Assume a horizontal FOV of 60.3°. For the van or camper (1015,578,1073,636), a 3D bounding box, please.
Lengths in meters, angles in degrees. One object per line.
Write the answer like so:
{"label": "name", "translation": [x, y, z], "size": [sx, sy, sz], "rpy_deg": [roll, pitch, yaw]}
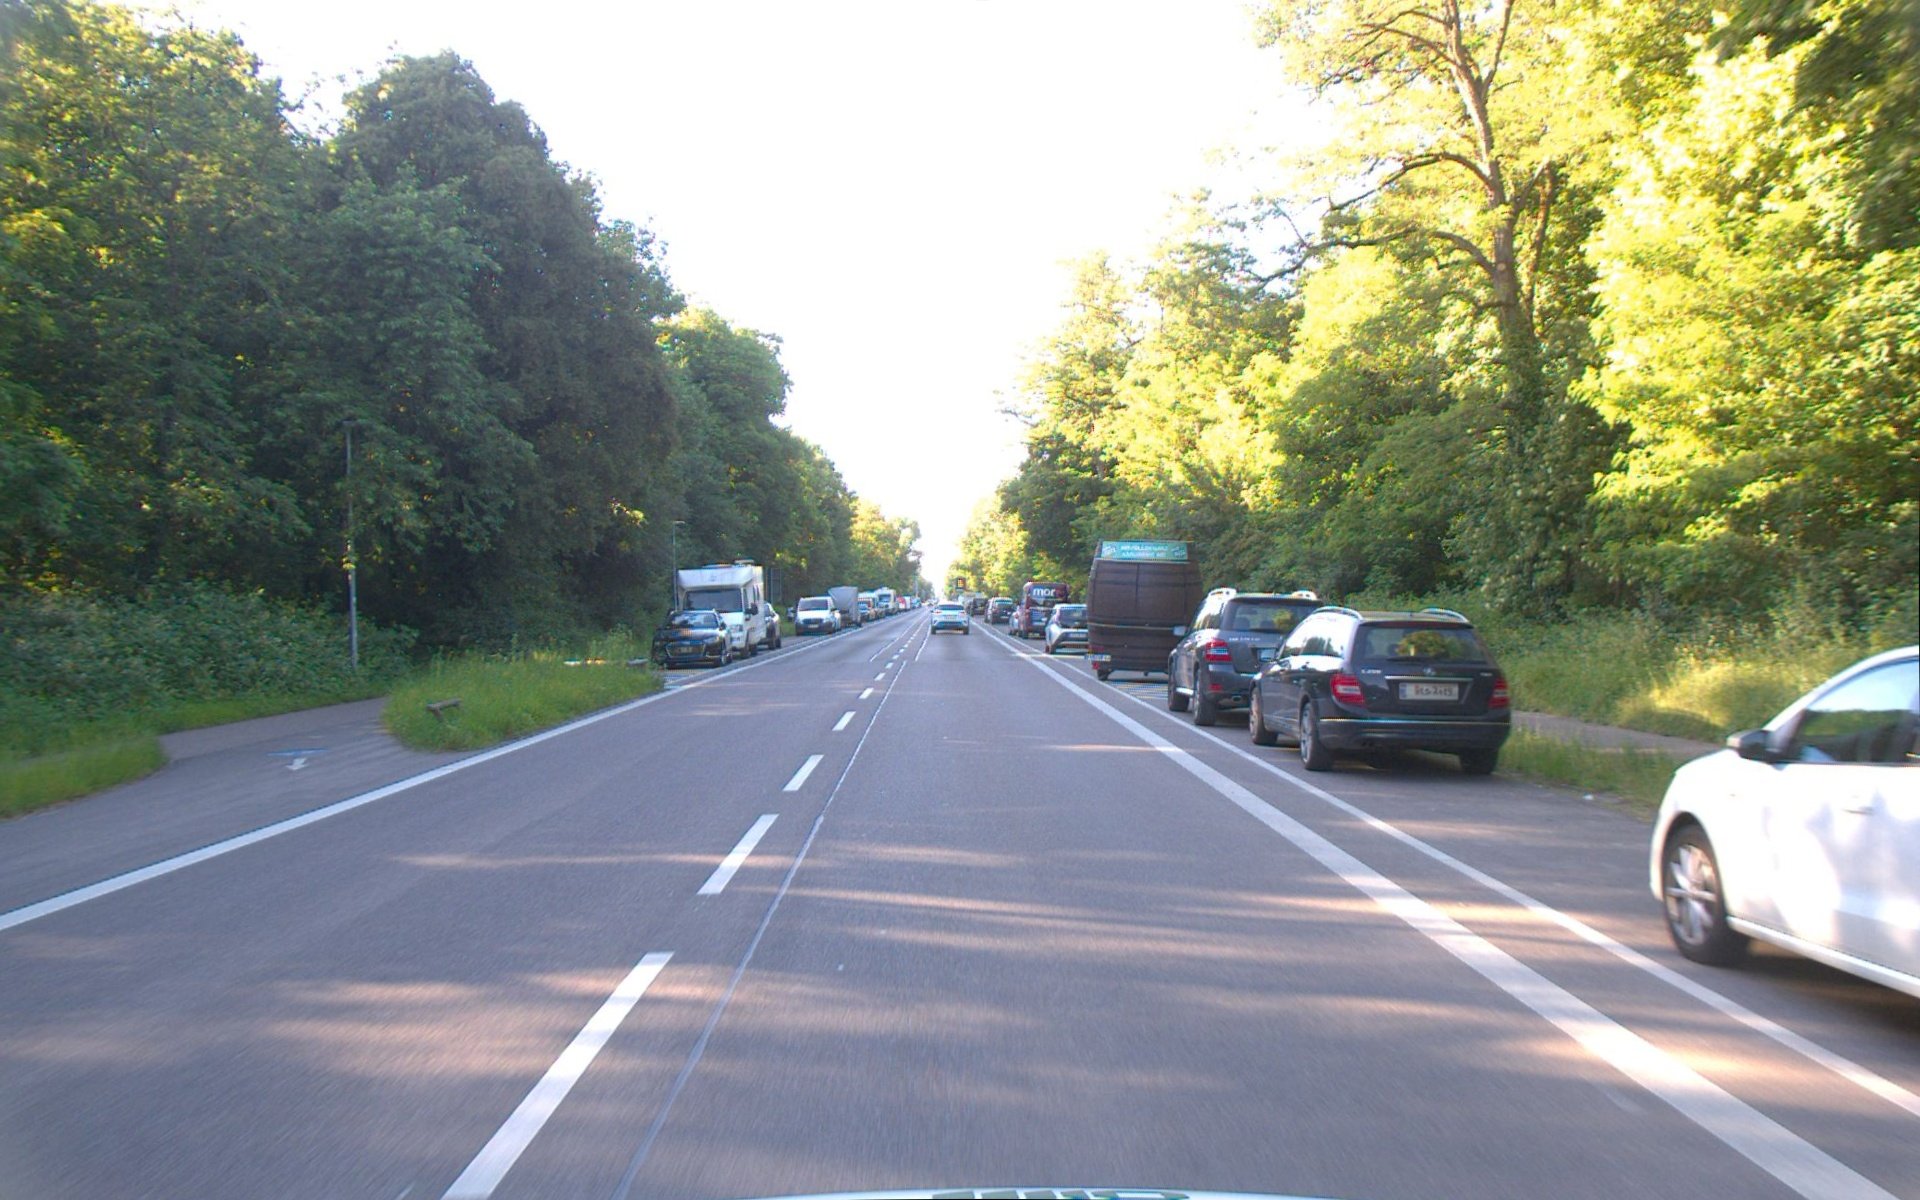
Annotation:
{"label": "van or camper", "translation": [3.558, 0.277, 70.982], "size": [1.994, 2.352, 6.039], "rpy_deg": [-1, 0, -1]}

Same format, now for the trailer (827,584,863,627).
{"label": "trailer", "translation": [-7.429, 0.346, 107.106], "size": [1.953, 2.643, 4.415], "rpy_deg": [-3, 0, -1]}

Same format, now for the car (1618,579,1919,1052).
{"label": "car", "translation": [4.085, 0.745, 6.059], "size": [1.677, 1.596, 3.999], "rpy_deg": [1, 0, -1]}

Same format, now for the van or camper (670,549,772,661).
{"label": "van or camper", "translation": [-7.120, 0.148, 50.032], "size": [2.268, 3.021, 7.107], "rpy_deg": [-3, 0, -3]}

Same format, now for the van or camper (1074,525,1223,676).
{"label": "van or camper", "translation": [4.087, -0.018, 34.701], "size": [2.389, 2.848, 6.562], "rpy_deg": [-1, 0, 13]}

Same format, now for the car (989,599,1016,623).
{"label": "car", "translation": [2.851, 0.752, 111.252], "size": [1.655, 1.551, 4.149], "rpy_deg": [1, 0, 0]}

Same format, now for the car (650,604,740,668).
{"label": "car", "translation": [-6.792, 0.885, 42.778], "size": [1.791, 1.501, 4.677], "rpy_deg": [-2, 0, -4]}

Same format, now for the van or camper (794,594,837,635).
{"label": "van or camper", "translation": [-7.330, 0.732, 84.176], "size": [1.798, 1.945, 4.854], "rpy_deg": [-2, 0, -1]}

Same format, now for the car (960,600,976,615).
{"label": "car", "translation": [0.894, 0.857, 194.129], "size": [1.803, 1.691, 4.000], "rpy_deg": [-1, 0, 0]}

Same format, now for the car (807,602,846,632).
{"label": "car", "translation": [-7.312, 0.917, 90.917], "size": [1.738, 1.567, 4.523], "rpy_deg": [-2, 0, -1]}

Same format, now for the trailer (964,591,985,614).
{"label": "trailer", "translation": [1.867, 0.275, 215.985], "size": [2.701, 2.920, 6.587], "rpy_deg": [-1, 0, -1]}

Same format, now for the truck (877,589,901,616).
{"label": "truck", "translation": [-8.527, 0.337, 199.831], "size": [2.652, 3.148, 7.988], "rpy_deg": [0, 0, 0]}

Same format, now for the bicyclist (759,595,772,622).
{"label": "bicyclist", "translation": [-10.284, 0.459, 87.351], "size": [0.592, 1.398, 0.799], "rpy_deg": [0, 0, -1]}

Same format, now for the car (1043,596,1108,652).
{"label": "car", "translation": [3.442, 0.695, 49.946], "size": [1.676, 1.572, 4.022], "rpy_deg": [1, 0, 0]}

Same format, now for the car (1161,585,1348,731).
{"label": "car", "translation": [3.798, 0.684, 22.029], "size": [1.676, 1.694, 4.551], "rpy_deg": [1, 0, 0]}

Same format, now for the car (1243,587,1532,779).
{"label": "car", "translation": [4.034, 0.702, 16.376], "size": [1.676, 1.596, 4.551], "rpy_deg": [1, 0, 0]}

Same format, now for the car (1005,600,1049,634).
{"label": "car", "translation": [3.135, 0.781, 77.805], "size": [1.712, 1.542, 3.998], "rpy_deg": [-2, 0, -3]}

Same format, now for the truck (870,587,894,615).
{"label": "truck", "translation": [-9.951, 0.146, 211.321], "size": [2.652, 3.406, 10.922], "rpy_deg": [0, 0, 0]}

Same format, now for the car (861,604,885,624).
{"label": "car", "translation": [-7.023, 1.135, 134.189], "size": [1.696, 1.504, 4.323], "rpy_deg": [-2, 0, 0]}

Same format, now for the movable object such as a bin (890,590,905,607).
{"label": "movable object such as a bin", "translation": [-9.808, -0.229, 259.229], "size": [2.275, 2.545, 3.999], "rpy_deg": [-1, 0, -1]}

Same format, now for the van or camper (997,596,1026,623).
{"label": "van or camper", "translation": [3.625, 0.647, 117.784], "size": [1.911, 1.847, 4.380], "rpy_deg": [0, 0, -1]}

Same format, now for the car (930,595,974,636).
{"label": "car", "translation": [-0.382, 0.720, 78.963], "size": [1.987, 1.872, 4.028], "rpy_deg": [-1, 0, 0]}

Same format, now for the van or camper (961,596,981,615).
{"label": "van or camper", "translation": [1.131, 0.575, 171.151], "size": [1.953, 1.966, 5.198], "rpy_deg": [1, 0, -1]}

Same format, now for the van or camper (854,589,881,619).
{"label": "van or camper", "translation": [-8.500, 0.363, 152.696], "size": [2.077, 2.617, 6.541], "rpy_deg": [-1, 0, 0]}

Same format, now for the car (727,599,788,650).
{"label": "car", "translation": [-7.131, 0.844, 58.521], "size": [1.612, 1.660, 4.273], "rpy_deg": [-3, 0, -1]}
